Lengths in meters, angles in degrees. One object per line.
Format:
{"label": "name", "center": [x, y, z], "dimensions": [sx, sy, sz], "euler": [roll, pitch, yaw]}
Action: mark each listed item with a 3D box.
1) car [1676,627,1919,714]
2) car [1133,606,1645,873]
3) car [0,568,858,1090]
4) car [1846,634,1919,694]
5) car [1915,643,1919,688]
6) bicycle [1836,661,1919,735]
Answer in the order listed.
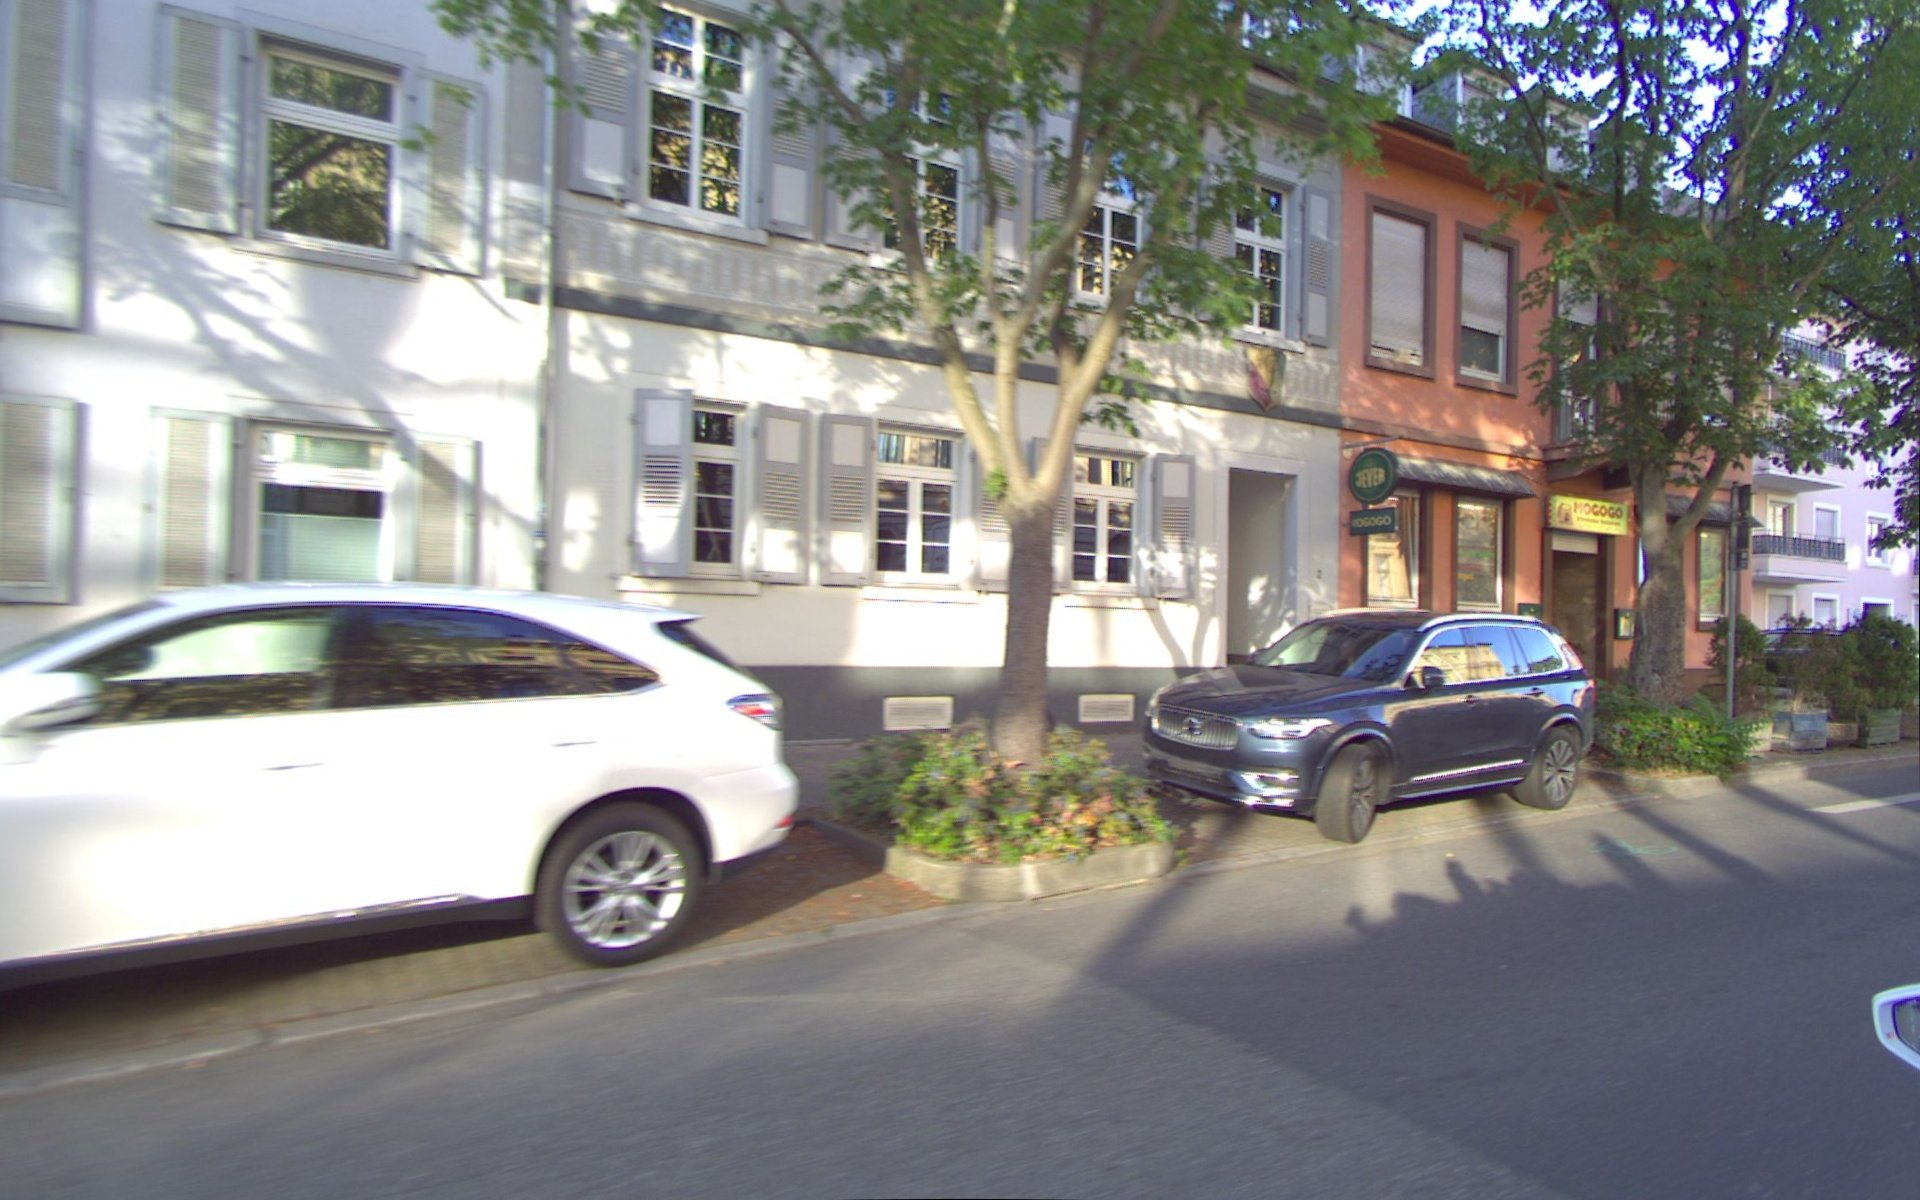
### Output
{"label": "car", "center": [19.796, 1.569, 23.675], "dimensions": [1.841, 1.687, 4.400], "euler": [2, 0, -28]}
{"label": "car", "center": [4.087, 1.070, 9.212], "dimensions": [4.996, 1.783, 1.816], "euler": [2, 2, -34]}
{"label": "car", "center": [-2.960, 0.779, 4.582], "dimensions": [4.608, 1.690, 1.816], "euler": [2, 2, -34]}
{"label": "car", "center": [28.329, 1.876, 28.515], "dimensions": [1.892, 1.626, 4.400], "euler": [2, 0, -28]}
{"label": "car", "center": [32.112, 2.125, 30.462], "dimensions": [1.714, 1.399, 4.249], "euler": [2, 0, -28]}
{"label": "bicycle", "center": [15.220, 1.566, 15.985], "dimensions": [0.604, 1.119, 1.855], "euler": [2, -2, -33]}
